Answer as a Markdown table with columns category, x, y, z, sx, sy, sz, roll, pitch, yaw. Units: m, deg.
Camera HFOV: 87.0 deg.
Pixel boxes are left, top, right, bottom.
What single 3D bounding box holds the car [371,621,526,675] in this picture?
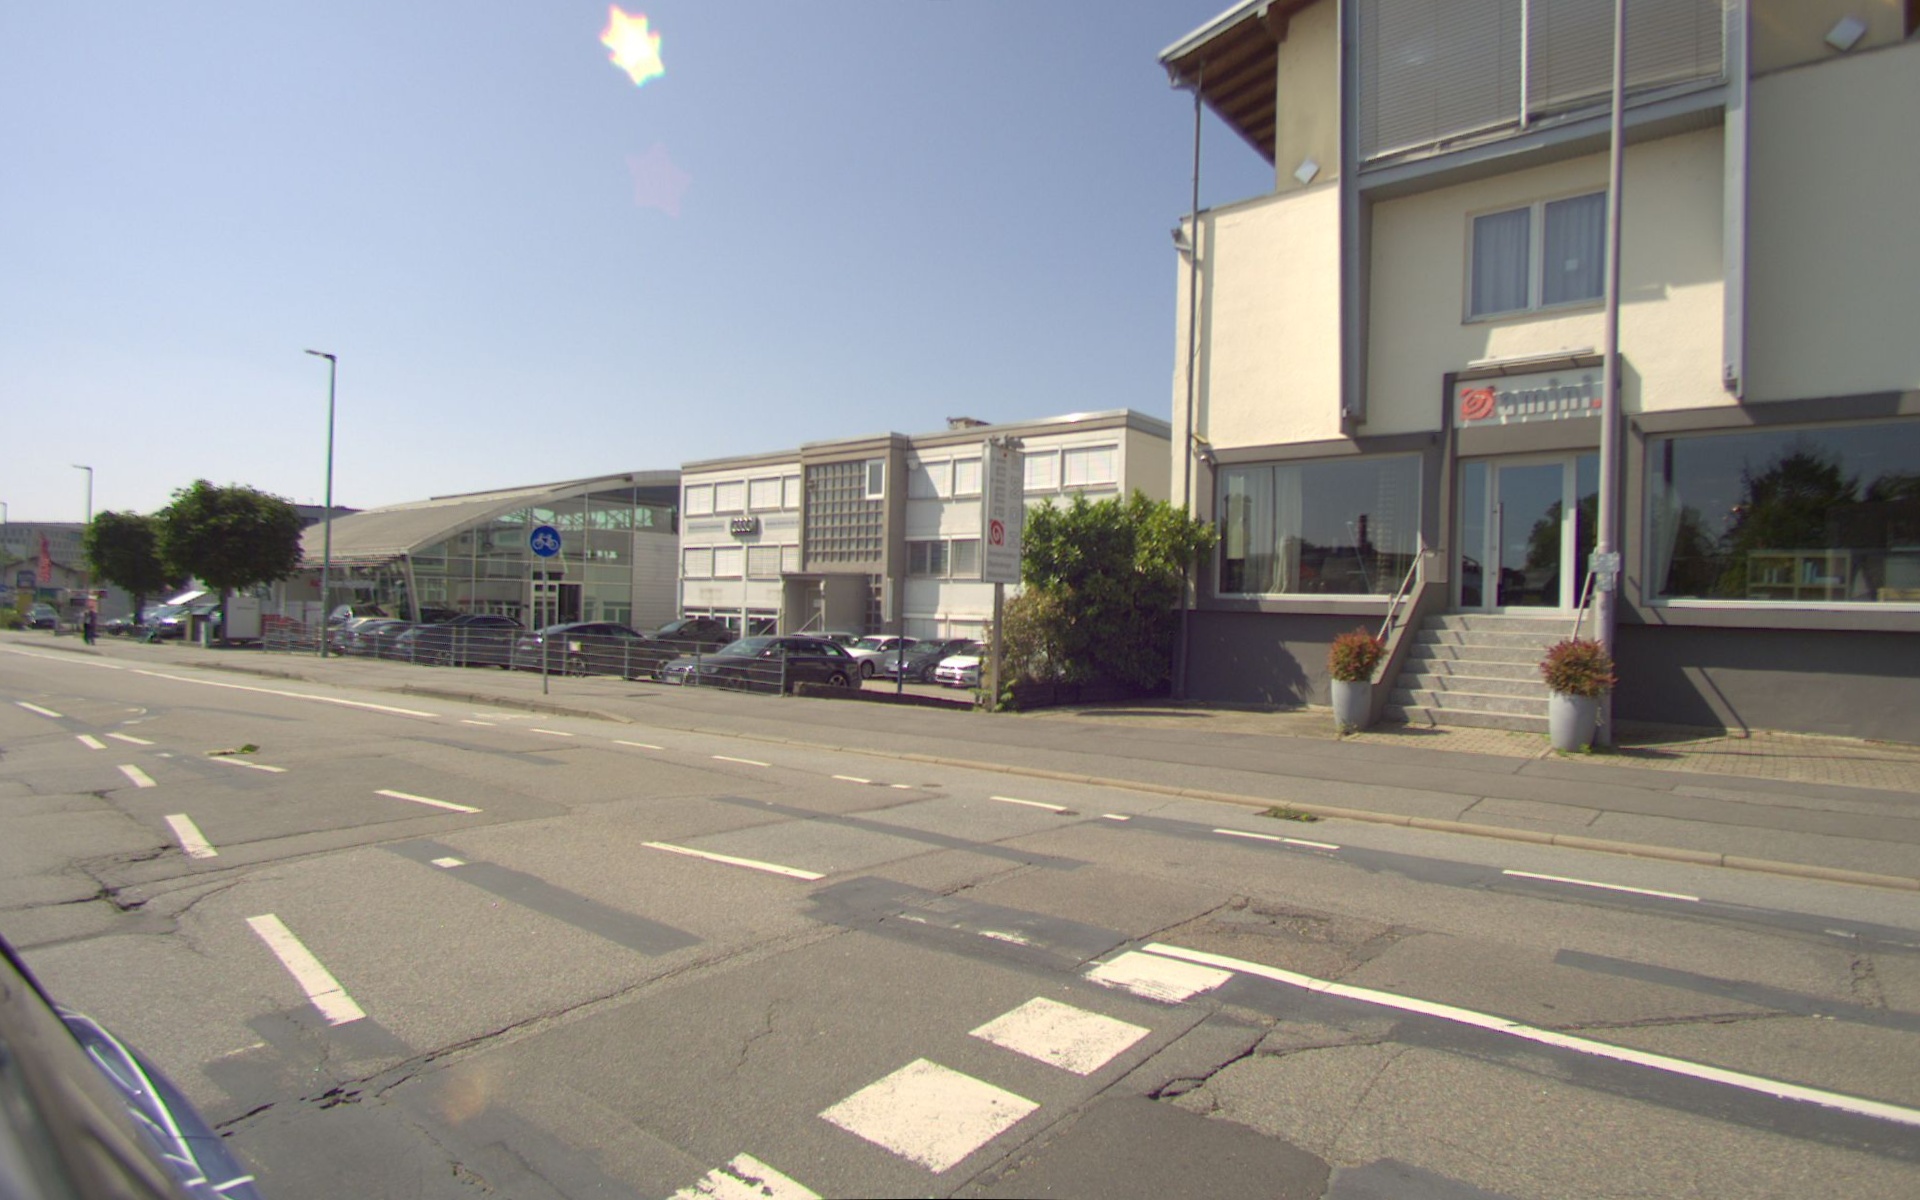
| category | x | y | z | sx | sy | sz | roll | pitch | yaw |
| --- | --- | --- | --- | --- | --- | --- | --- | --- | --- |
| car | -16.124 | 1.483 | 32.080 | 1.856 | 1.501 | 3.951 | 2 | 0 | 36 |

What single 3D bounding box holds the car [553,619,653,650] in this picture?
| category | x | y | z | sx | sy | sz | roll | pitch | yaw |
| --- | --- | --- | --- | --- | --- | --- | --- | --- | --- |
| car | -16.380 | 1.556 | 46.569 | 1.857 | 1.370 | 3.947 | -1 | -1 | 39 |

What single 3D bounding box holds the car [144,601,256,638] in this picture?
| category | x | y | z | sx | sy | sz | roll | pitch | yaw |
| --- | --- | --- | --- | --- | --- | --- | --- | --- | --- |
| car | -36.782 | 0.910 | 49.126 | 1.835 | 1.709 | 4.574 | 0 | -1 | 4 |

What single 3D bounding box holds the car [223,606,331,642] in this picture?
| category | x | y | z | sx | sy | sz | roll | pitch | yaw |
| --- | --- | --- | --- | --- | --- | --- | --- | --- | --- |
| car | -30.936 | 1.055 | 45.981 | 1.838 | 1.562 | 3.989 | 0 | -1 | 9 |

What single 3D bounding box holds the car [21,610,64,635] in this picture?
| category | x | y | z | sx | sy | sz | roll | pitch | yaw |
| --- | --- | --- | --- | --- | --- | --- | --- | --- | --- |
| car | -67.736 | 1.654 | 74.698 | 3.999 | 1.728 | 1.885 | -1 | -2 | 42 |

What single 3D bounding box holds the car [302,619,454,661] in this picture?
| category | x | y | z | sx | sy | sz | roll | pitch | yaw |
| --- | --- | --- | --- | --- | --- | --- | --- | --- | --- |
| car | -21.481 | 1.449 | 37.511 | 1.898 | 1.468 | 4.481 | -1 | -2 | 37 |

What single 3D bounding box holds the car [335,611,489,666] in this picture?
| category | x | y | z | sx | sy | sz | roll | pitch | yaw |
| --- | --- | --- | --- | --- | --- | --- | --- | --- | --- |
| car | -18.029 | 1.297 | 33.437 | 1.856 | 1.454 | 3.950 | 0 | -7 | 37 |

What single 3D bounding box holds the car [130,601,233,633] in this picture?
| category | x | y | z | sx | sy | sz | roll | pitch | yaw |
| --- | --- | --- | --- | --- | --- | --- | --- | --- | --- |
| car | -39.636 | 0.819 | 51.670 | 1.850 | 1.506 | 4.198 | 0 | 1 | 4 |

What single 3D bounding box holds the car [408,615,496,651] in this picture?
| category | x | y | z | sx | sy | sz | roll | pitch | yaw |
| --- | --- | --- | --- | --- | --- | --- | --- | --- | --- |
| car | -23.735 | 1.551 | 47.310 | 3.419 | 1.518 | 1.889 | 2 | 1 | -34 |

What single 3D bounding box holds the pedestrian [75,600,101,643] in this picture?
| category | x | y | z | sx | sy | sz | roll | pitch | yaw |
| --- | --- | --- | --- | --- | --- | --- | --- | --- | --- |
| pedestrian | -38.849 | 0.944 | 45.068 | 1.047 | 1.882 | 0.724 | -1 | -2 | 42 |

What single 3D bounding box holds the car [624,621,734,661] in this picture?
| category | x | y | z | sx | sy | sz | roll | pitch | yaw |
| --- | --- | --- | --- | --- | --- | --- | --- | --- | --- |
| car | -11.907 | 1.687 | 43.152 | 1.856 | 1.565 | 4.314 | -1 | -1 | 36 |

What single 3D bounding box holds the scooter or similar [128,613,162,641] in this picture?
| category | x | y | z | sx | sy | sz | roll | pitch | yaw |
| --- | --- | --- | --- | --- | --- | --- | --- | --- | --- |
| scooter or similar | -36.703 | 1.198 | 45.565 | 1.486 | 1.257 | 0.738 | -1 | -1 | 32 |

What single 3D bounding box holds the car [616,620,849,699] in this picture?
| category | x | y | z | sx | sy | sz | roll | pitch | yaw |
| --- | --- | --- | --- | --- | --- | --- | --- | --- | --- |
| car | -4.791 | 1.205 | 21.942 | 2.045 | 1.492 | 4.693 | -1 | -2 | 38 |

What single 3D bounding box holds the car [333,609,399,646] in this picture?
| category | x | y | z | sx | sy | sz | roll | pitch | yaw |
| --- | --- | --- | --- | --- | --- | --- | --- | --- | --- |
| car | -28.325 | 1.275 | 48.221 | 1.969 | 1.697 | 4.005 | 1 | -1 | -42 |

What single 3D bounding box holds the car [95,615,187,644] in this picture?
| category | x | y | z | sx | sy | sz | roll | pitch | yaw |
| --- | --- | --- | --- | --- | --- | --- | --- | --- | --- |
| car | -45.226 | 1.595 | 56.011 | 1.879 | 1.470 | 4.164 | 0 | 0 | -4 |

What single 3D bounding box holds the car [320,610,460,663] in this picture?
| category | x | y | z | sx | sy | sz | roll | pitch | yaw |
| --- | --- | --- | --- | --- | --- | --- | --- | --- | --- |
| car | -19.917 | 1.211 | 35.457 | 1.821 | 1.455 | 3.853 | 2 | 4 | 39 |

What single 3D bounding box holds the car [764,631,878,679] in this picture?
| category | x | y | z | sx | sy | sz | roll | pitch | yaw |
| --- | --- | --- | --- | --- | --- | --- | --- | --- | --- |
| car | -4.985 | 1.947 | 36.752 | 1.857 | 1.557 | 3.949 | -1 | -1 | 38 |

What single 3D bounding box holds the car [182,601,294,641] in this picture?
| category | x | y | z | sx | sy | sz | roll | pitch | yaw |
| --- | --- | --- | --- | --- | --- | --- | --- | --- | --- |
| car | -33.921 | 0.956 | 47.691 | 1.886 | 1.720 | 4.476 | 0 | 1 | 4 |

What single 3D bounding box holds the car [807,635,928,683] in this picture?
| category | x | y | z | sx | sy | sz | roll | pitch | yaw |
| --- | --- | --- | --- | --- | --- | --- | --- | --- | --- |
| car | -3.125 | 1.974 | 34.719 | 1.816 | 1.413 | 3.943 | 2 | 1 | 43 |

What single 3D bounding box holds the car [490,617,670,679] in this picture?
| category | x | y | z | sx | sy | sz | roll | pitch | yaw |
| --- | --- | --- | --- | --- | --- | --- | --- | --- | --- |
| car | -10.343 | 1.262 | 27.841 | 1.991 | 1.570 | 4.258 | -1 | -2 | 36 |

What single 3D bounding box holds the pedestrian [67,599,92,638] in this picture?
| category | x | y | z | sx | sy | sz | roll | pitch | yaw |
| --- | --- | --- | --- | --- | --- | --- | --- | --- | --- |
| pedestrian | -42.454 | 0.878 | 48.809 | 0.910 | 1.862 | 0.716 | -1 | -2 | 39 |

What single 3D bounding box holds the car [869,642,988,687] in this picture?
| category | x | y | z | sx | sy | sz | roll | pitch | yaw |
| --- | --- | --- | --- | --- | --- | --- | --- | --- | --- |
| car | -0.985 | 2.098 | 33.624 | 1.857 | 1.274 | 3.949 | -1 | -1 | 38 |

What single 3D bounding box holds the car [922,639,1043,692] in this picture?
| category | x | y | z | sx | sy | sz | roll | pitch | yaw |
| --- | --- | --- | --- | --- | --- | --- | --- | --- | --- |
| car | 0.762 | 2.016 | 32.020 | 1.857 | 1.472 | 3.949 | -1 | -1 | 38 |

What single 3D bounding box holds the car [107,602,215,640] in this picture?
| category | x | y | z | sx | sy | sz | roll | pitch | yaw |
| --- | --- | --- | --- | --- | --- | --- | --- | --- | --- |
| car | -42.753 | 1.103 | 54.305 | 1.940 | 1.620 | 4.478 | -4 | 2 | 4 |
